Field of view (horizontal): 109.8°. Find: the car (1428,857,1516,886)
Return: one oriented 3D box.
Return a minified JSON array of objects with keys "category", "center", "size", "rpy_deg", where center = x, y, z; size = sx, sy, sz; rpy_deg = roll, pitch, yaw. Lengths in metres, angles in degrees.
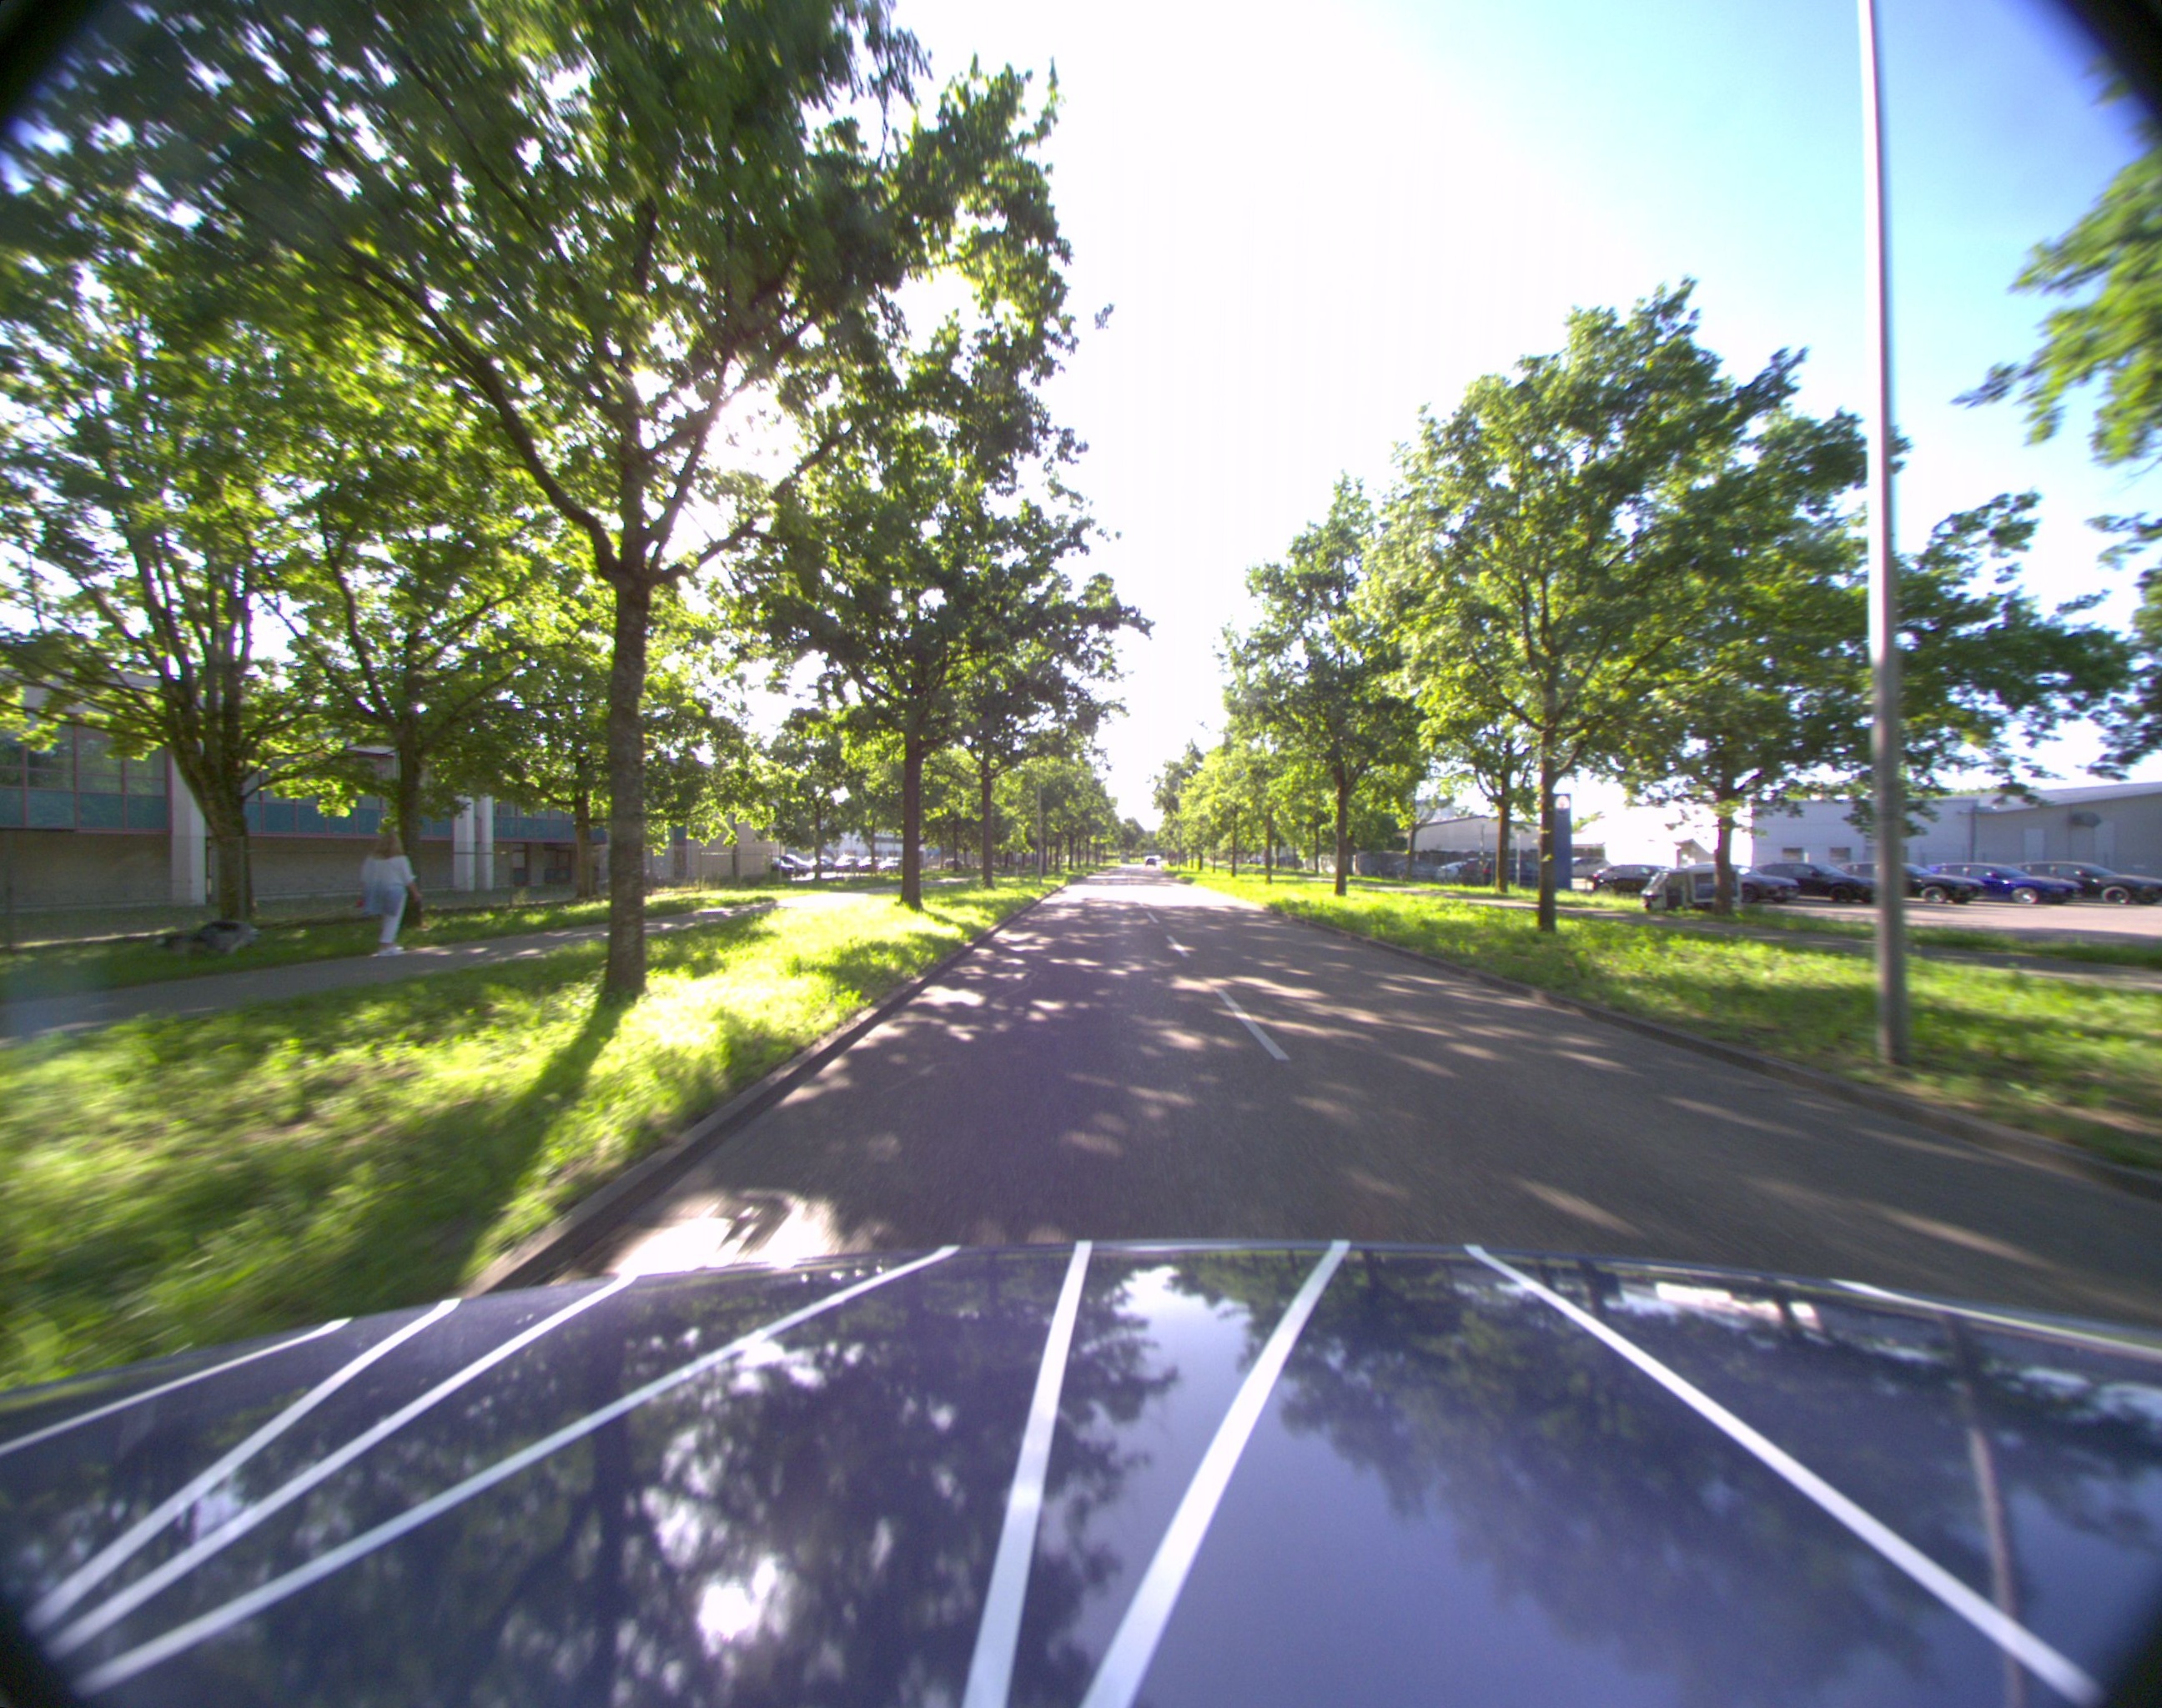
[{"category":"car","center":[23.486,1.042,45.762],"size":[4.320,1.510,1.862],"rpy_deg":[-2,1,5]}]

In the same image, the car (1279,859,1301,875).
[{"category":"car","center":[29.106,1.745,105.851],"size":[1.998,2.162,5.673],"rpy_deg":[0,0,5]}]

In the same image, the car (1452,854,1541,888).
[{"category":"car","center":[23.461,0.932,43.056],"size":[3.995,1.736,1.862],"rpy_deg":[-2,1,5]}]

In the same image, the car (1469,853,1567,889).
[{"category":"car","center":[23.054,0.876,40.173],"size":[3.995,1.732,2.001],"rpy_deg":[-2,1,5]}]

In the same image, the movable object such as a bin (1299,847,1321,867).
[{"category":"movable object such as a bin","center":[29.590,0.391,98.316],"size":[1.997,2.501,4.237],"rpy_deg":[-2,1,6]}]

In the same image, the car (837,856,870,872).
[{"category":"car","center":[-24.443,1.049,81.784],"size":[1.998,1.663,4.457],"rpy_deg":[0,0,2]}]

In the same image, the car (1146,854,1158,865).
[{"category":"car","center":[11.788,0.942,126.652],"size":[1.771,1.663,4.200],"rpy_deg":[1,1,3]}]

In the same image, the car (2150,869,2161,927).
[{"category":"car","center":[30.108,1.227,19.420],"size":[1.994,1.651,5.271],"rpy_deg":[-1,-1,41]}]

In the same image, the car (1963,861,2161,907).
[{"category":"car","center":[41.620,1.176,32.197],"size":[2.000,1.651,5.255],"rpy_deg":[-2,0,-10]}]

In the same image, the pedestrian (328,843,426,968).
[{"category":"pedestrian","center":[-9.554,0.677,10.333],"size":[0.609,1.621,0.719],"rpy_deg":[2,0,3]}]

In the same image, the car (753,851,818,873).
[{"category":"car","center":[-26.438,0.701,68.049],"size":[5.076,1.948,1.894],"rpy_deg":[1,1,-1]}]

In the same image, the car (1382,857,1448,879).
[{"category":"car","center":[24.812,1.026,56.555],"size":[3.995,1.510,2.199],"rpy_deg":[-2,1,5]}]

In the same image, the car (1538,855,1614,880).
[{"category":"car","center":[33.642,0.910,51.733],"size":[3.995,1.510,1.752],"rpy_deg":[-2,1,5]}]

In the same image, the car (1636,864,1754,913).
[{"category":"car","center":[19.457,1.072,24.181],"size":[2.570,1.461,1.427],"rpy_deg":[0,0,19]}]

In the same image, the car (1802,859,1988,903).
[{"category":"car","center":[35.093,1.102,33.036],"size":[2.000,1.651,5.255],"rpy_deg":[-2,0,-10]}]

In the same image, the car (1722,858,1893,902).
[{"category":"car","center":[31.738,1.060,33.482],"size":[2.000,1.680,5.255],"rpy_deg":[-2,0,-10]}]

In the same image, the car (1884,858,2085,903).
[{"category":"car","center":[38.423,1.061,32.575],"size":[2.000,1.651,5.255],"rpy_deg":[-2,0,-10]}]

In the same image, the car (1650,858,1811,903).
[{"category":"car","center":[28.315,1.077,33.414],"size":[2.000,1.707,5.254],"rpy_deg":[-2,1,-12]}]

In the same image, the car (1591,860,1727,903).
[{"category":"car","center":[25.289,1.151,33.489],"size":[2.001,1.665,4.494],"rpy_deg":[-2,1,-13]}]
